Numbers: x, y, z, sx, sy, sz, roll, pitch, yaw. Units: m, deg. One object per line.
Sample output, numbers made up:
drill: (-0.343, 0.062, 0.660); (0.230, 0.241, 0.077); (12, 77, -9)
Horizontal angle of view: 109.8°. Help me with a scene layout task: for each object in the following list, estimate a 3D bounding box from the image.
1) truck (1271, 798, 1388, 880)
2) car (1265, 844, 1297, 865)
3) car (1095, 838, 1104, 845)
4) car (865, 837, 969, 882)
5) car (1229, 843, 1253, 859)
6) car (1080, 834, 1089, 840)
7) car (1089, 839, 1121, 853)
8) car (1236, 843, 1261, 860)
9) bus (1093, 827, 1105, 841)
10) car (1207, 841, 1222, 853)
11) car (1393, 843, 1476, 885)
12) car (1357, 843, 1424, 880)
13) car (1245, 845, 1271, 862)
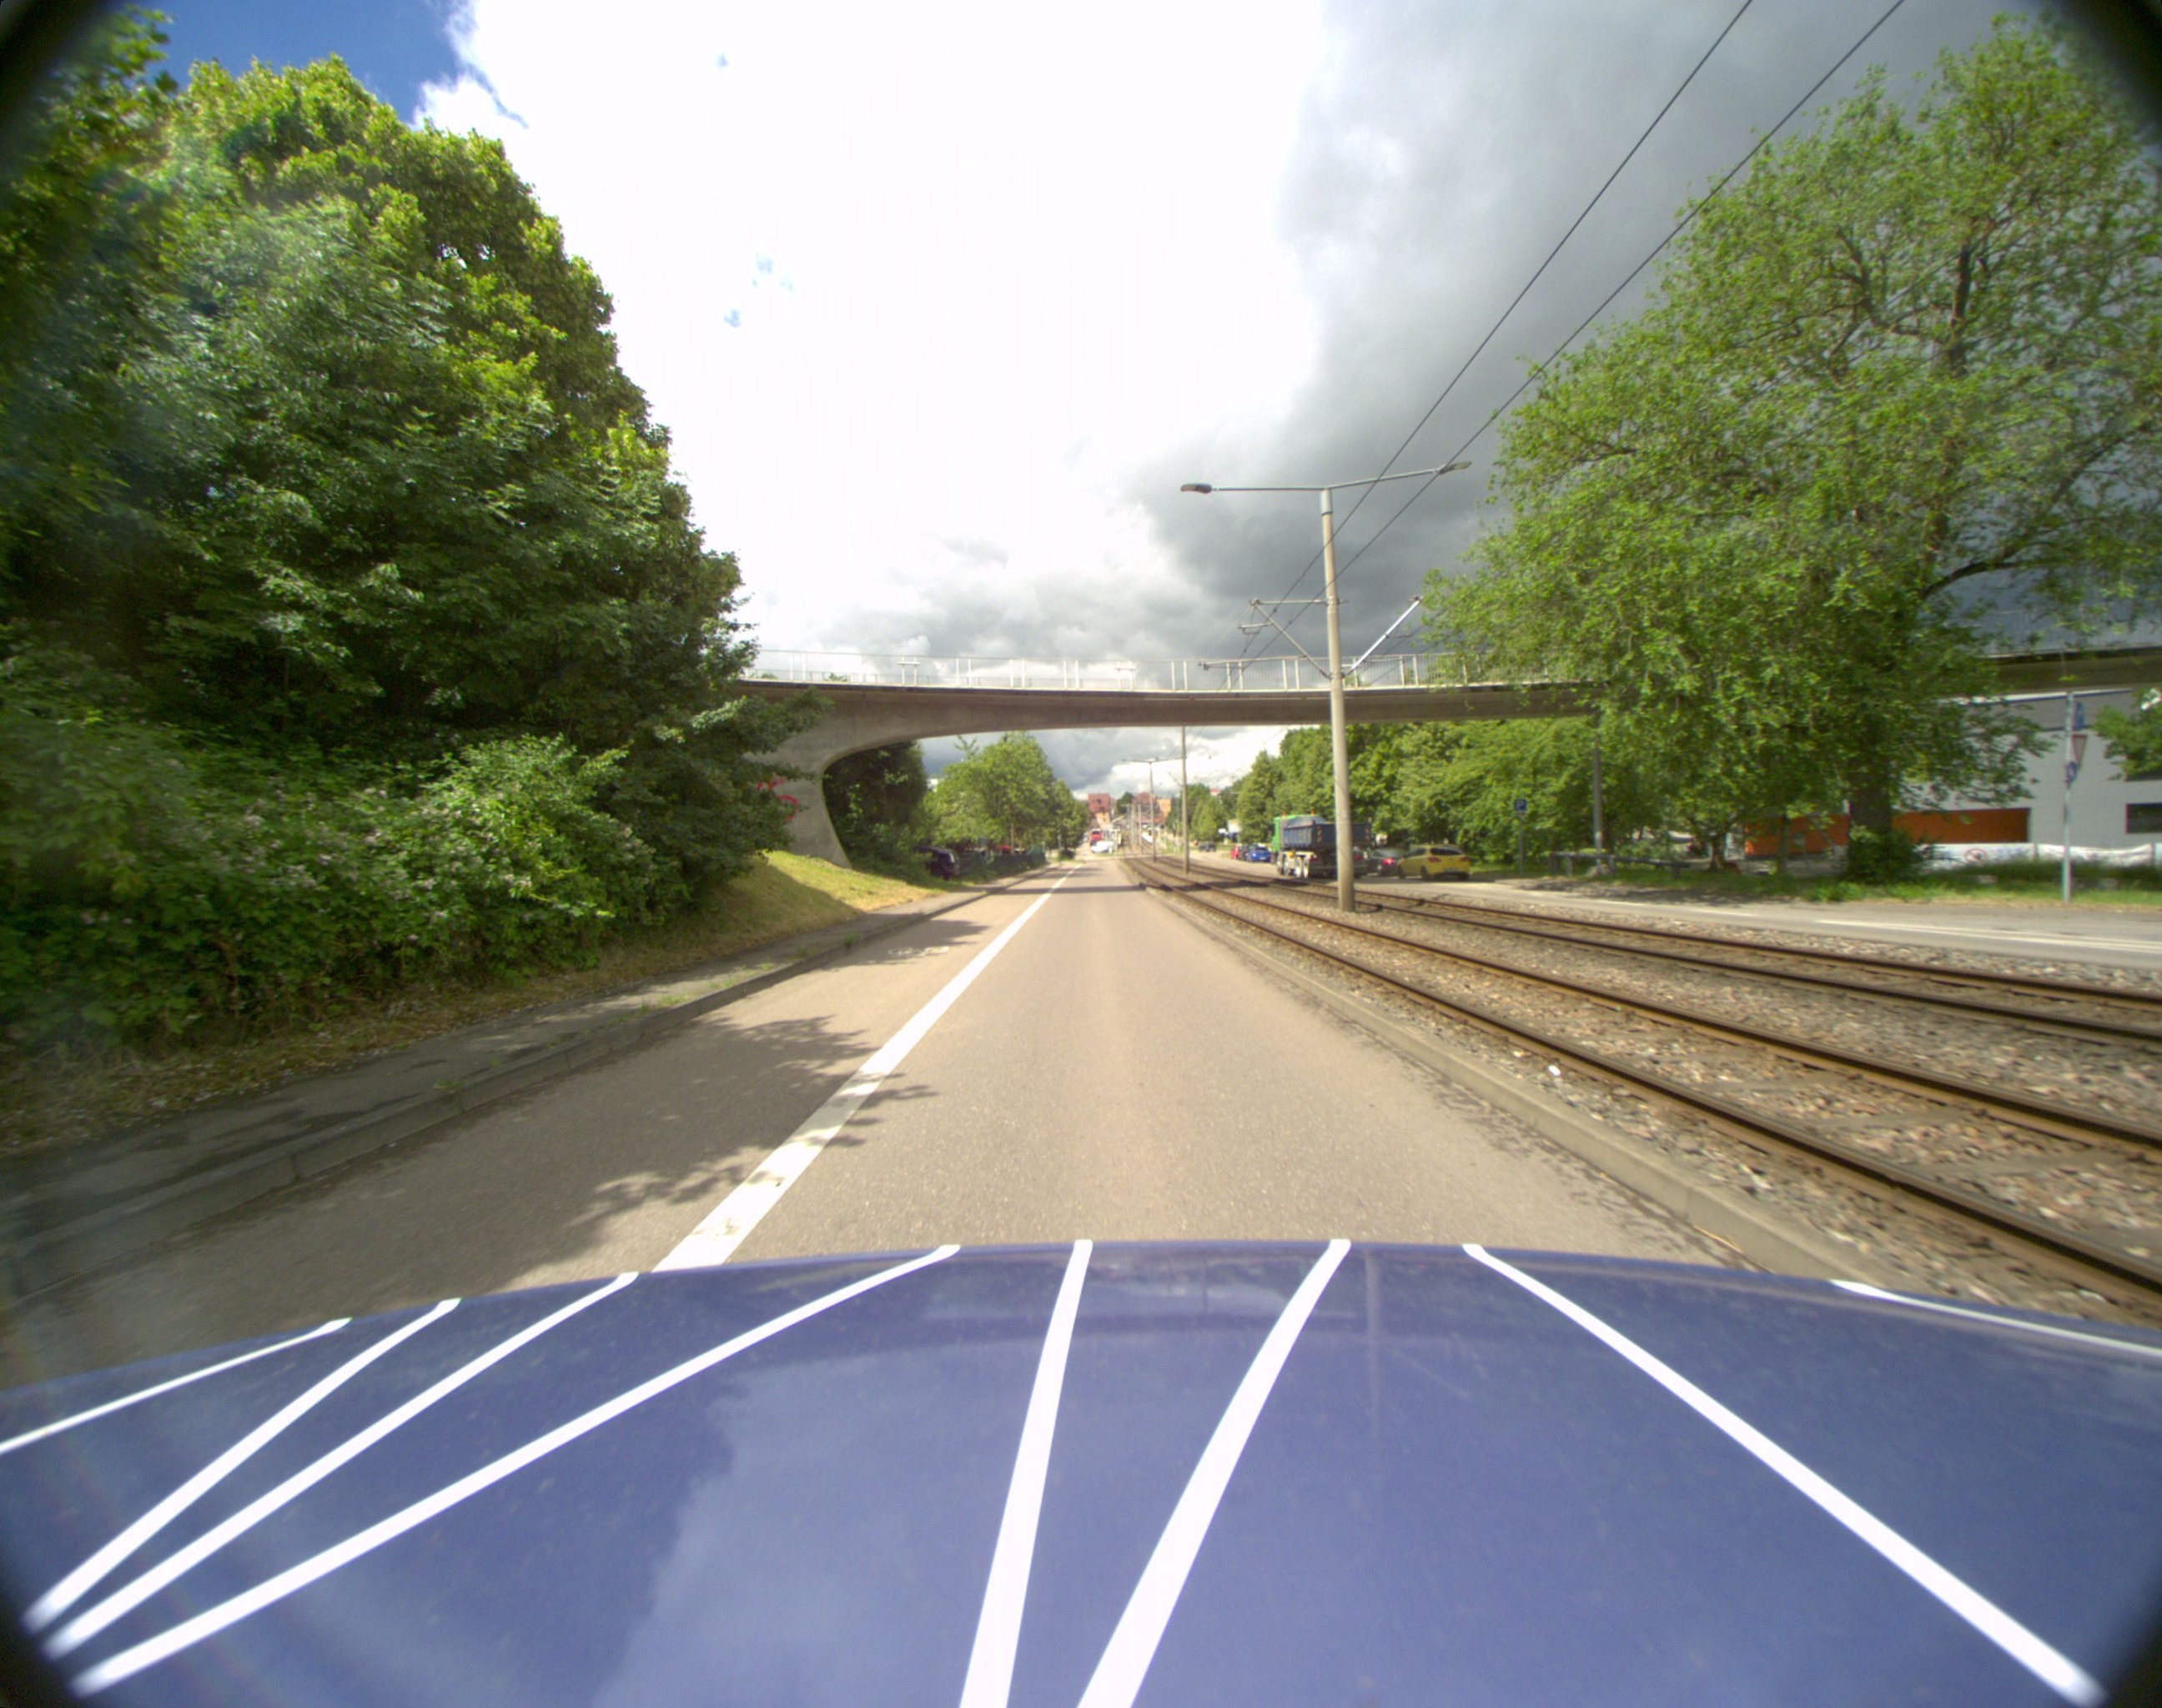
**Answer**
truck: (11.844, -0.777, 37.303); (2.878, 3.301, 9.028); (-4, 2, 2)
car: (15.283, 0.028, 58.269); (1.616, 1.485, 4.048); (-2, 0, 4)
car: (4.316, -2.985, 179.621); (1.858, 1.576, 4.324); (-1, 1, 0)
car: (-8.086, 0.240, 37.666); (4.534, 1.662, 1.999); (6, 3, 2)
car: (16.554, -0.301, 78.739); (1.617, 1.443, 3.660); (-4, 2, 1)
car: (0.905, -4.707, 211.690); (1.939, 1.374, 4.661); (-3, 2, 7)
car: (4.118, -1.409, 130.723); (5.221, 2.007, 1.884); (-2, 3, 33)
car: (16.079, -0.233, 73.097); (1.584, 1.596, 4.375); (-1, 1, 3)
bus: (5.366, -5.941, 223.290); (2.923, 3.864, 10.378); (-2, 1, 4)
car: (20.249, -1.124, 115.051); (1.617, 1.565, 3.999); (-4, 2, 2)
car: (14.373, 0.357, 31.136); (1.693, 1.442, 3.897); (-4, 2, 3)
car: (14.570, 0.318, 35.950); (1.693, 1.442, 3.897); (-4, 2, 3)
car: (15.740, -0.074, 67.753); (1.616, 1.452, 4.008); (0, 1, 4)
